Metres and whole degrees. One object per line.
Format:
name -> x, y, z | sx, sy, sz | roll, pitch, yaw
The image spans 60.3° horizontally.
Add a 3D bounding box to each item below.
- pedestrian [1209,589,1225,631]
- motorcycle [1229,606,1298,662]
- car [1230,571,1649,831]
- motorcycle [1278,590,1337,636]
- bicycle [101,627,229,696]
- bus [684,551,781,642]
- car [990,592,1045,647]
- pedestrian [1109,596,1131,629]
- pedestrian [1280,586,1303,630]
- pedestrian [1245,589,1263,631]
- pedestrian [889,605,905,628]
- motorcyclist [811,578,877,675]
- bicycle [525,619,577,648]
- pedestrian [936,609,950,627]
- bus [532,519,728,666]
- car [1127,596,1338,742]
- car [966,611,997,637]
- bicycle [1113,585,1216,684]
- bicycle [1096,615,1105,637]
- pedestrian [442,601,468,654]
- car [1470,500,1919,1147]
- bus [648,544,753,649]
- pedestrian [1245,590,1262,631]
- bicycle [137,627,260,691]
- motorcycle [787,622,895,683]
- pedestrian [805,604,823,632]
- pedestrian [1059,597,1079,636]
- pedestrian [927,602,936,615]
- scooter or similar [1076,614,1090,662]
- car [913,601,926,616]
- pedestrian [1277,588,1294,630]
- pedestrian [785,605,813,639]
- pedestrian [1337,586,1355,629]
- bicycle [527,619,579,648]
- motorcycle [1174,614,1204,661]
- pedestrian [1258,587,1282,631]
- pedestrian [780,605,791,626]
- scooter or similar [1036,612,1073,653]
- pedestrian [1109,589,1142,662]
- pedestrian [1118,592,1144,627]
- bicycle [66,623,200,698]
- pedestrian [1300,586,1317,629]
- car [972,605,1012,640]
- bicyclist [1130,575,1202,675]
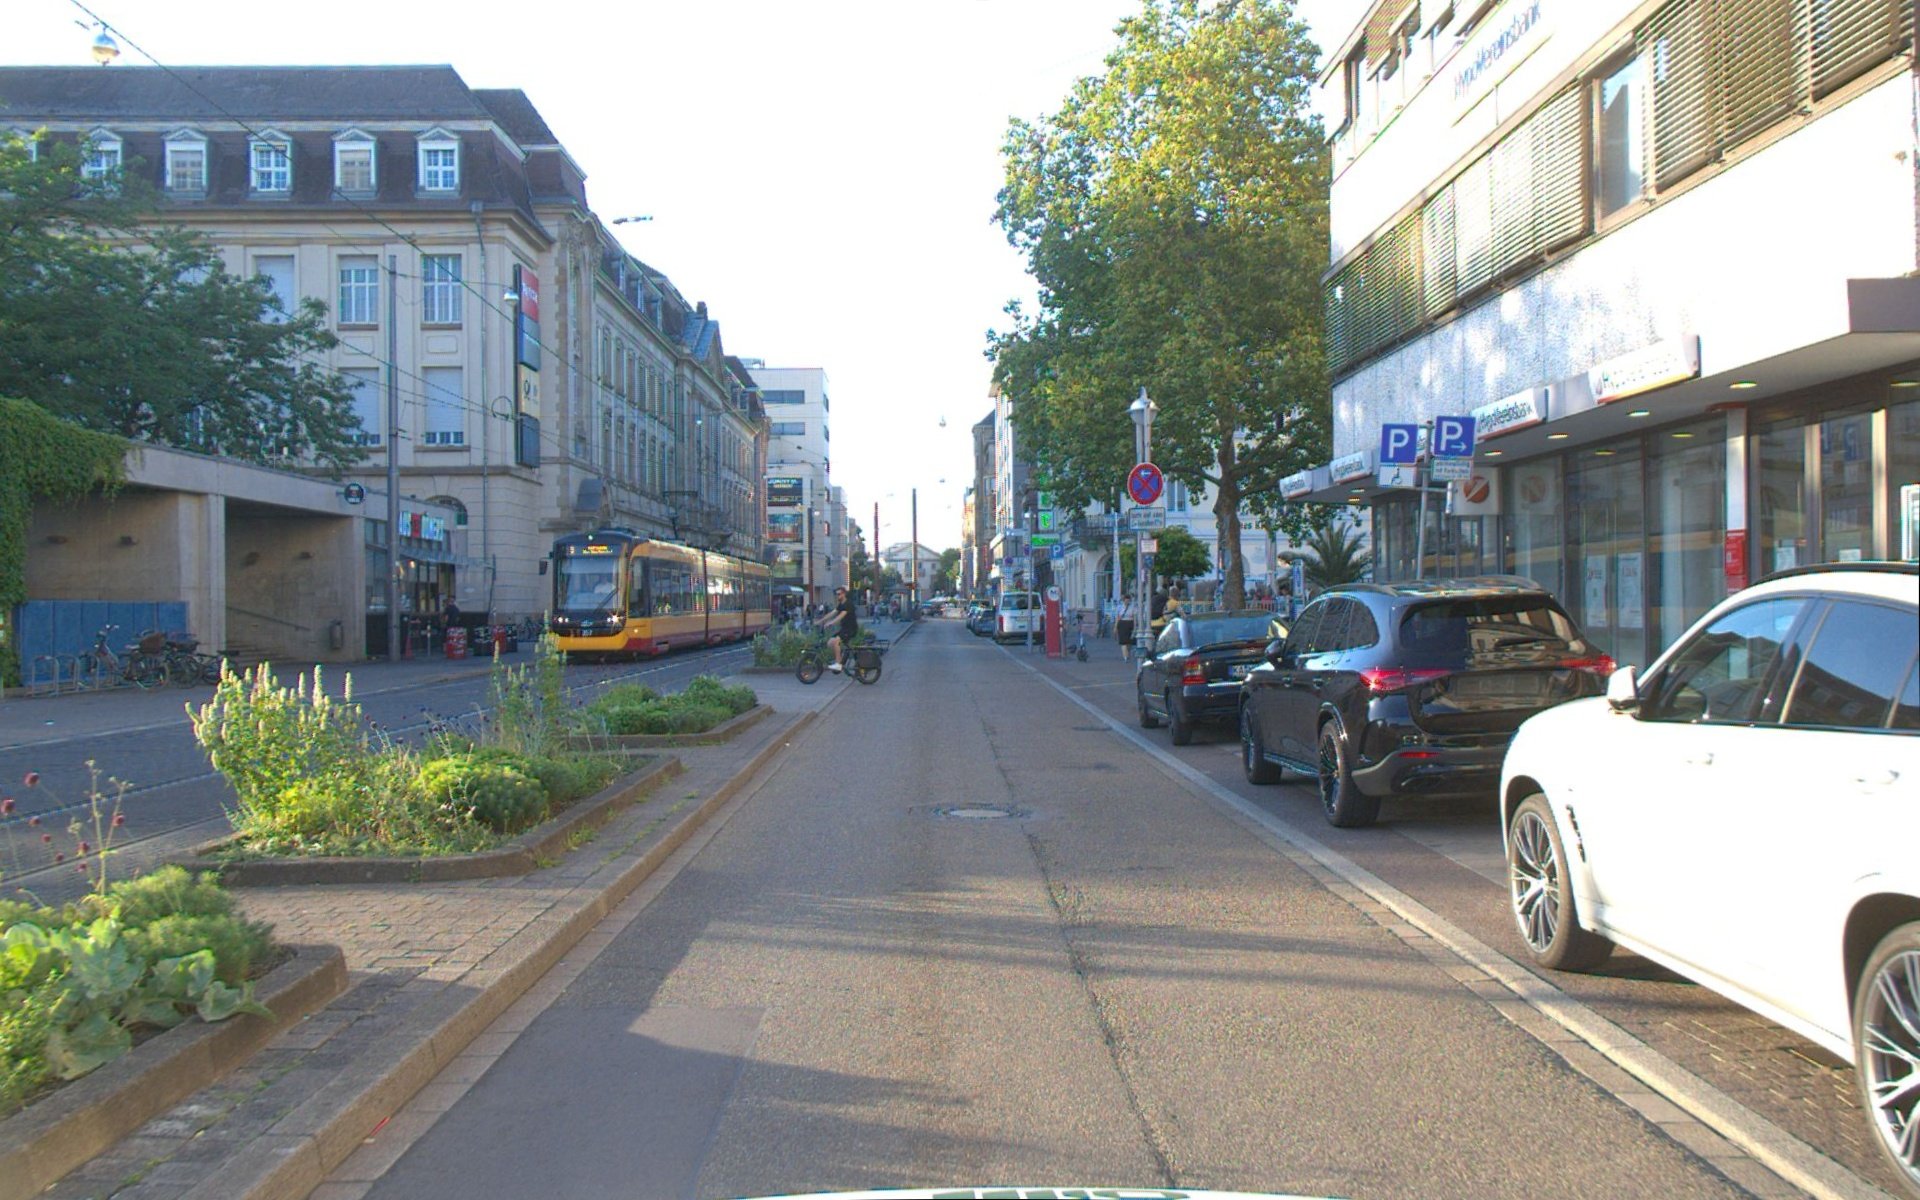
pedestrian -> 8.320, 0.333, 53.502 | 0.463, 1.353, 0.540 | -1, -2, 13
motorcycle -> 8.012, 0.882, 43.768 | 0.557, 1.448, 2.276 | 0, -1, -27
car -> 3.345, 0.583, 12.507 | 1.740, 1.565, 4.577 | -1, 1, -1
motorcycle -> 9.258, 0.343, 44.093 | 0.544, 1.171, 1.782 | 0, 1, -27
bicycle -> -15.364, 1.189, 31.992 | 2.196, 1.277, 0.579 | -1, -2, -1
bus -> -9.931, -0.008, 73.551 | 2.765, 3.676, 11.819 | -1, -1, -1
car -> 2.214, 0.751, 64.345 | 1.876, 2.016, 4.420 | -1, -1, -1
pedestrian -> 6.631, 0.530, 68.673 | 0.806, 1.329, 0.869 | -1, -2, -2
pedestrian -> 10.030, 0.243, 50.031 | 0.630, 1.307, 0.741 | -2, -2, 15
pedestrian -> 9.295, 0.321, 52.292 | 0.464, 1.307, 0.540 | -2, -2, 15
pedestrian -> -4.896, 1.280, 127.868 | 1.026, 1.715, 0.909 | -1, -2, 10
motorcyclist -> -2.255, 0.516, 32.097 | 0.989, 1.845, 0.952 | 0, -2, -25
bicycle -> -17.046, 1.396, 68.945 | 2.056, 1.168, 0.574 | -1, -2, -6
pedestrian -> -1.851, 1.982, 179.266 | 1.210, 1.962, 1.017 | 0, -1, -17
bus -> -9.631, -0.155, 50.841 | 2.765, 3.715, 17.069 | -1, 0, -1
car -> 3.068, 0.731, 19.474 | 1.622, 1.404, 4.340 | -4, 0, -1
car -> 1.486, 1.695, 115.236 | 1.953, 1.696, 4.419 | -1, -2, -1
bicycle -> 3.802, 0.612, 30.584 | 0.593, 1.770, 2.351 | -1, 0, 45
bicycle -> 5.989, 1.112, 70.424 | 0.245, 0.918, 1.373 | -1, -2, -1
pedestrian -> -16.112, 0.870, 52.746 | 0.704, 1.674, 0.655 | 1, -1, -23
car -> 3.284, 0.554, 5.398 | 1.779, 1.613, 4.723 | -1, 0, 0
bus -> -9.822, -0.111, 63.504 | 2.765, 3.688, 8.287 | -1, 0, -1
pedestrian -> 9.396, 0.340, 52.928 | 0.463, 1.307, 0.540 | -1, -2, 13
bicycle -> -15.486, 1.198, 33.660 | 2.196, 1.253, 0.585 | -1, -1, -1
motorcycle -> -2.299, 1.015, 32.052 | 2.018, 1.143, 0.563 | 0, -2, -25
pedestrian -> -9.163, 1.121, 103.507 | 1.030, 1.715, 0.906 | 0, 0, -11
pedestrian -> 5.086, 0.754, 77.214 | 0.772, 1.782, 0.893 | -1, -2, -8
pedestrian -> -3.868, 1.143, 225.326 | 0.768, 1.765, 0.809 | -3, -3, 39
scooter or similar -> 3.261, 1.005, 43.767 | 0.308, 1.243, 1.273 | 0, 0, 6
car -> -5.534, 1.173, 226.877 | 1.725, 1.859, 3.569 | -1, -2, -1
pedestrian -> 10.134, 0.280, 51.528 | 0.464, 1.307, 0.540 | -2, -2, 15
pedestrian -> -7.361, 1.020, 75.569 | 0.706, 1.540, 1.031 | -3, -3, 42
pedestrian -> 11.841, 0.229, 50.735 | 0.464, 1.307, 0.540 | -2, -2, 15
bicycle -> -17.120, 1.418, 69.609 | 2.037, 1.168, 0.574 | -1, -2, -6
motorcycle -> 5.957, 0.954, 43.103 | 0.446, 1.178, 2.031 | 0, 0, -1
pedestrian -> 9.414, 0.266, 50.263 | 0.630, 1.307, 0.741 | -2, -2, 15
pedestrian -> -13.590, 1.198, 128.789 | 0.764, 1.608, 0.676 | -1, 0, -13
scooter or similar -> 2.923, 0.996, 51.178 | 1.102, 1.237, 0.300 | -2, -1, 0
pedestrian -> 4.291, 0.655, 42.872 | 0.699, 1.835, 0.824 | -3, -1, 2
pedestrian -> 6.745, 0.390, 65.250 | 0.884, 1.337, 0.966 | -1, -2, -2
bicycle -> -15.227, 1.115, 30.469 | 2.152, 1.323, 0.579 | -1, -2, -1
pedestrian -> 10.763, 0.250, 51.102 | 0.464, 1.307, 0.540 | -2, -2, 15
car -> 1.681, 1.196, 89.088 | 1.953, 1.792, 4.420 | -1, -1, -1
bicyclist -> 3.825, 0.450, 30.654 | 0.925, 1.807, 0.955 | 0, -1, -44
